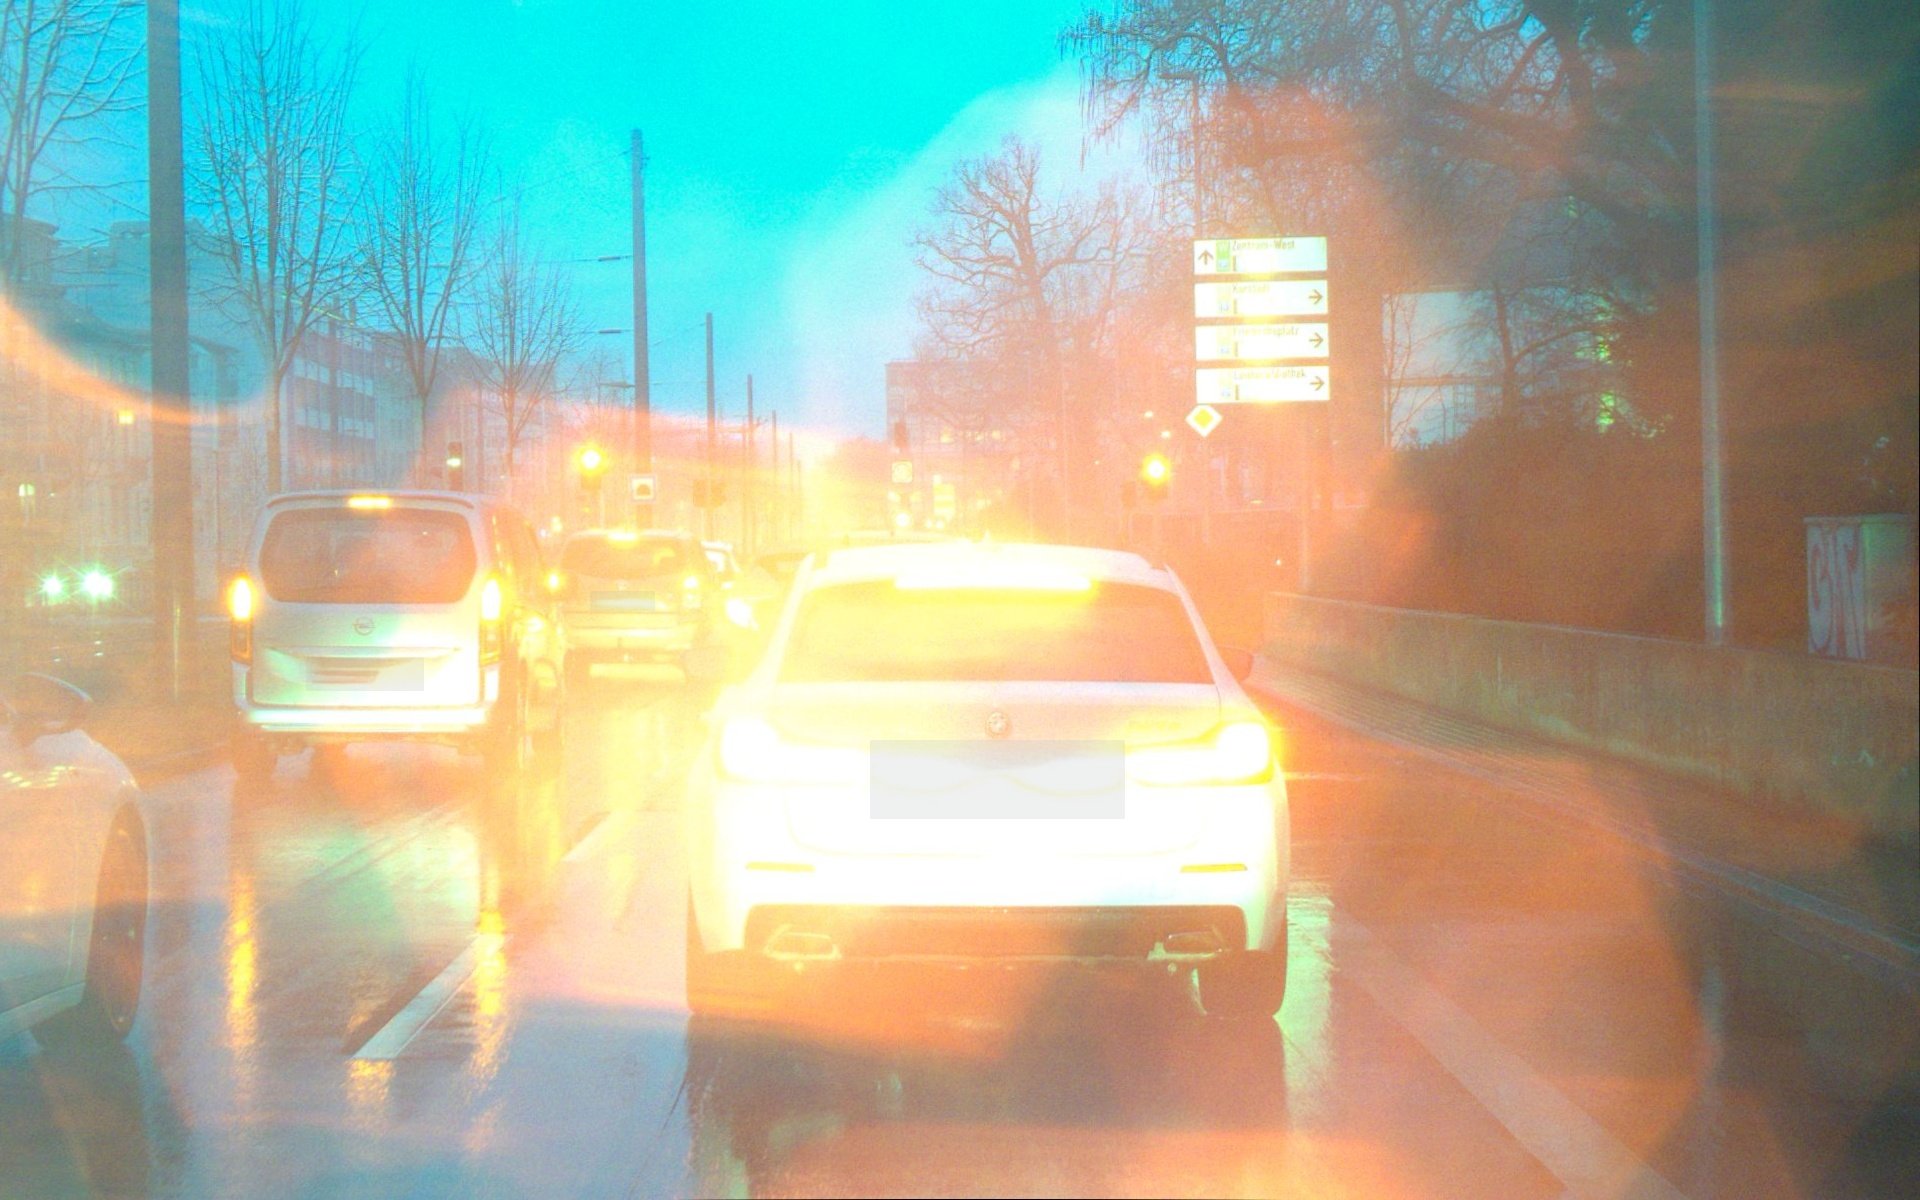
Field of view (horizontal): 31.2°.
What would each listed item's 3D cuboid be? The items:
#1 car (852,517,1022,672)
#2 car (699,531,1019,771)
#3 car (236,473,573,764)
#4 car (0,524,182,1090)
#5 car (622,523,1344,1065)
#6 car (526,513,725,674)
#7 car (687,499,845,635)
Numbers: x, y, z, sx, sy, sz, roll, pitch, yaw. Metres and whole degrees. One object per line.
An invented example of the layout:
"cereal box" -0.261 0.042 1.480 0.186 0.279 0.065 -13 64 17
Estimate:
"car" -0.268 -0.100 38.615 1.806 1.640 4.000 0 1 -1
"car" -0.639 0.267 22.925 1.936 1.452 4.164 0 1 -1
"car" -3.589 0.081 22.908 1.793 1.730 4.538 0 1 -4
"car" -3.290 0.510 8.204 1.846 1.400 4.614 0 1 0
"car" 0.037 0.494 11.611 1.999 1.503 4.164 0 1 -1
"car" -3.564 -0.109 37.203 1.806 1.640 4.000 0 1 -1
"car" -2.571 -0.455 46.398 1.993 1.749 4.000 0 1 -1
